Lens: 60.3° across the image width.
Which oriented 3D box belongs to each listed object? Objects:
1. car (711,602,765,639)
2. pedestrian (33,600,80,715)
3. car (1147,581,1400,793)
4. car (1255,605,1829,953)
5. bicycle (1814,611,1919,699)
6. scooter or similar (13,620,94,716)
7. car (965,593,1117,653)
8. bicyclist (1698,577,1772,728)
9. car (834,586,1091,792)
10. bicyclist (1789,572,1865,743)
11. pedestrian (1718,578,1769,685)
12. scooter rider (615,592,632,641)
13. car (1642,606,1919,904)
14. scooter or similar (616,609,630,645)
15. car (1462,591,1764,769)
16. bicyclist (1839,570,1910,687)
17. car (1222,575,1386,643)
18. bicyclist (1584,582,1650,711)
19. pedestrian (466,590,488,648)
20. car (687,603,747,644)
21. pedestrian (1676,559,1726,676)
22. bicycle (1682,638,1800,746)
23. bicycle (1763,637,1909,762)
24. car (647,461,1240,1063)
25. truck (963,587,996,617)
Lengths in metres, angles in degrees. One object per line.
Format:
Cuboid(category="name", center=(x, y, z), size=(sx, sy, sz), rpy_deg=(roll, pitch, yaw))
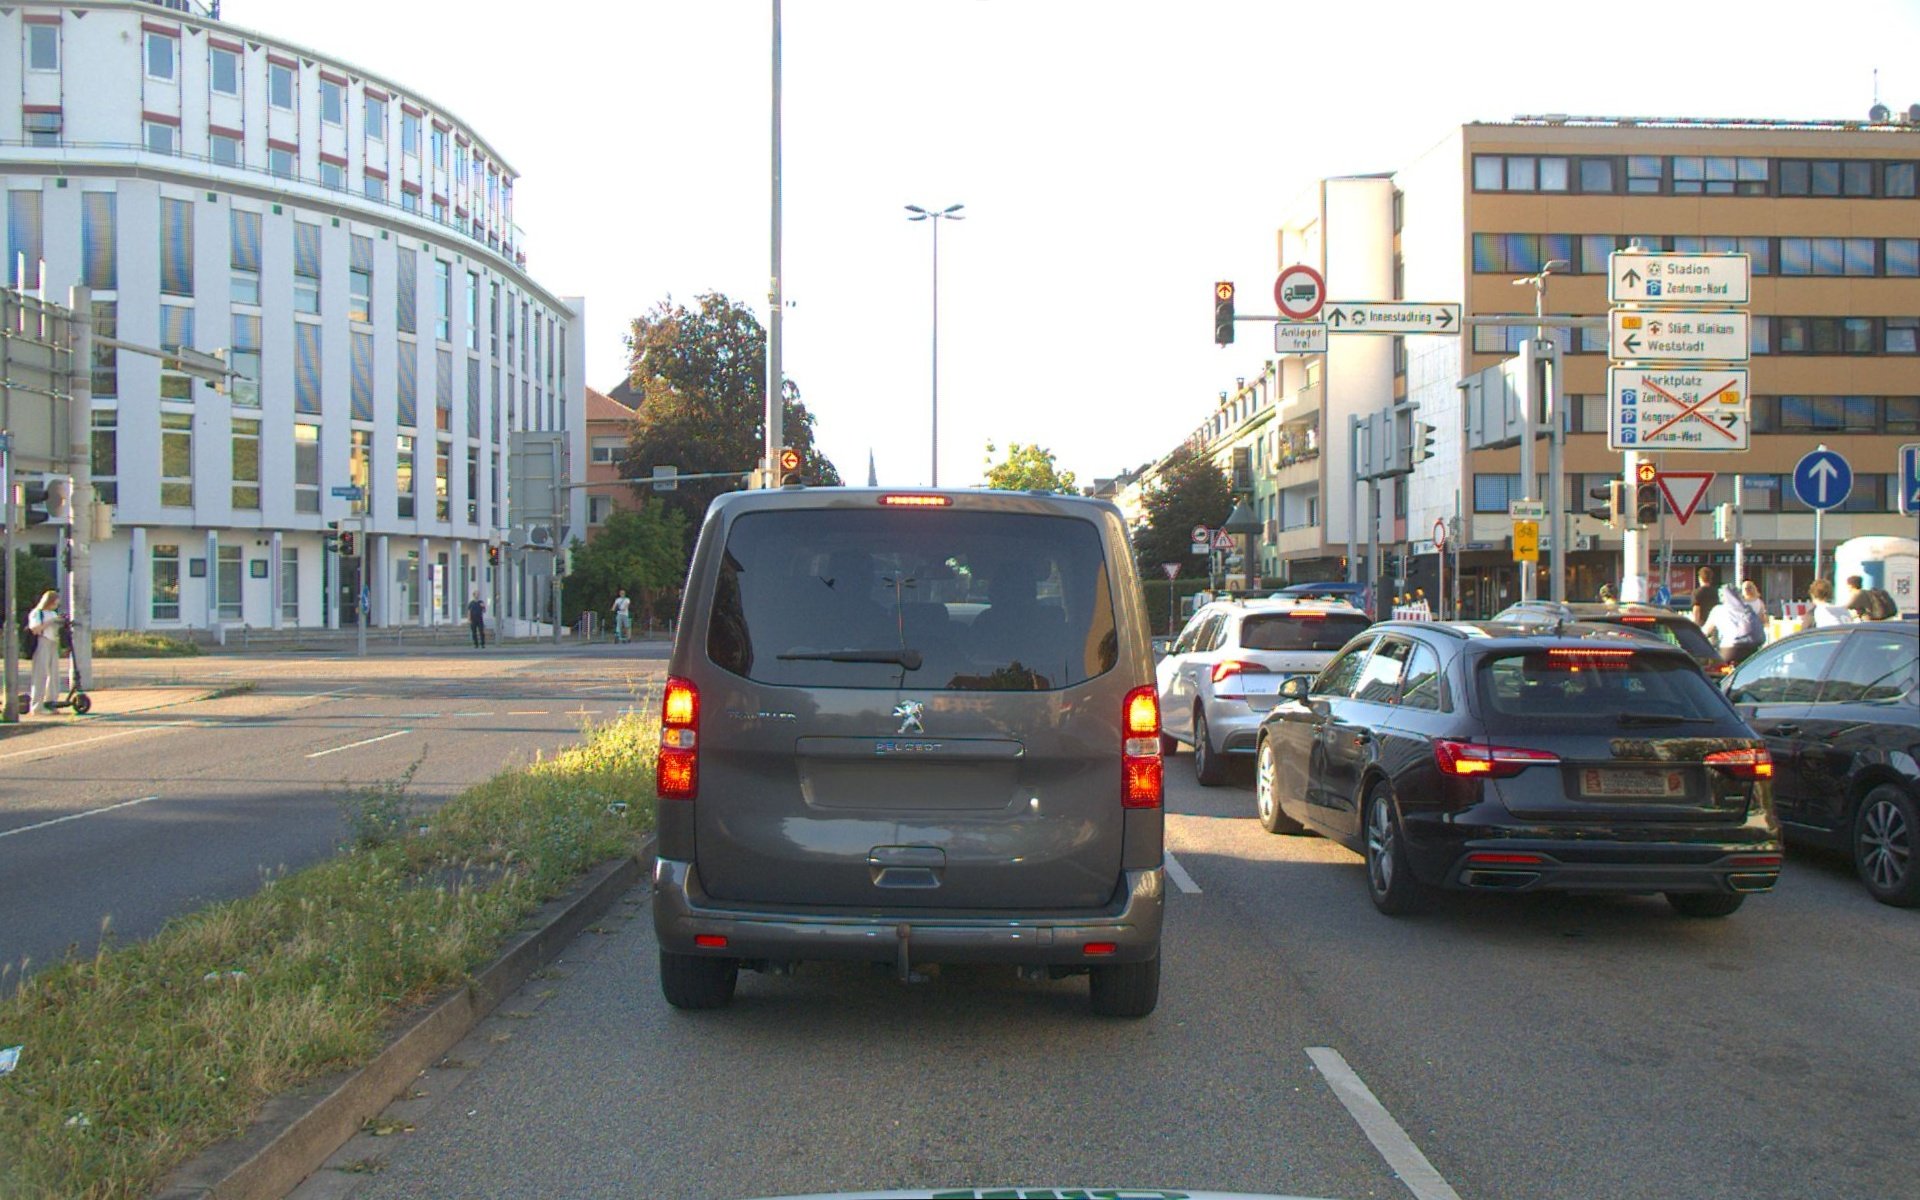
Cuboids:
Cuboid(category="car", center=(-9.099, 0.829, 67.969), size=(1.819, 1.445, 3.998), rpy_deg=(0, 0, -2))
Cuboid(category="pedestrian", center=(-12.218, 0.767, 22.371), size=(0.466, 1.532, 0.334), rpy_deg=(0, 0, -13))
Cuboid(category="car", center=(2.689, 0.684, 14.932), size=(1.498, 1.641, 3.744), rpy_deg=(1, 0, -1))
Cuboid(category="car", center=(2.891, 0.779, 9.244), size=(1.647, 1.446, 4.213), rpy_deg=(1, 0, -1))
Cuboid(category="bicycle", center=(13.052, 0.771, 23.605), size=(1.470, 1.181, 0.372), rpy_deg=(2, 1, 37))
Cuboid(category="scooter or similar", center=(-12.163, 0.909, 22.212), size=(0.877, 1.255, 0.370), rpy_deg=(0, 0, -12))
Cuboid(category="car", center=(2.085, 0.570, 42.376), size=(3.644, 1.412, 1.676), rpy_deg=(-2, 0, -36))
Cuboid(category="bicyclist", center=(8.140, 0.542, 17.390), size=(0.432, 1.552, 0.725), rpy_deg=(0, 0, -1))
Cuboid(category="car", center=(-0.012, 0.673, 14.618), size=(1.953, 1.557, 3.999), rpy_deg=(0, 0, -1))
Cuboid(category="bicyclist", center=(7.977, 0.521, 15.230), size=(0.432, 1.552, 0.482), rpy_deg=(0, 0, -1))
Cuboid(category="pedestrian", center=(12.618, 0.495, 26.636), size=(0.592, 1.700, 0.452), rpy_deg=(0, 0, -17))
Cuboid(category="scooter rider", center=(-11.849, 0.585, 58.186), size=(0.471, 1.727, 0.636), rpy_deg=(0, 0, -1))
Cuboid(category="car", center=(5.622, 0.804, 9.740), size=(1.600, 1.474, 3.744), rpy_deg=(1, 0, -1))
Cuboid(category="scooter or similar", center=(-11.856, 0.944, 58.231), size=(0.279, 1.209, 1.169), rpy_deg=(0, 0, -1))
Cuboid(category="car", center=(5.946, 0.662, 15.439), size=(1.474, 1.474, 3.304), rpy_deg=(0, 0, -1))
Cuboid(category="bicyclist", center=(13.056, 0.392, 23.604), size=(0.798, 1.616, 0.617), rpy_deg=(1, 1, 36))
Cuboid(category="car", center=(9.697, 0.227, 46.665), size=(4.157, 1.849, 1.987), rpy_deg=(-1, 0, -22))
Cuboid(category="bicyclist", center=(8.068, 0.564, 20.325), size=(0.503, 1.552, 0.725), rpy_deg=(0, 0, -1))
Cuboid(category="pedestrian", center=(-14.803, 0.584, 50.682), size=(0.615, 1.752, 0.669), rpy_deg=(0, 0, -15))
Cuboid(category="car", center=(-9.116, 0.863, 62.394), size=(1.819, 1.445, 3.998), rpy_deg=(0, 0, -2))
Cuboid(category="pedestrian", center=(11.946, 0.278, 26.664), size=(0.559, 1.866, 0.486), rpy_deg=(0, 0, -9))
Cuboid(category="bicycle", center=(8.136, 0.934, 17.307), size=(0.329, 1.025, 1.855), rpy_deg=(0, 0, -1))
Cuboid(category="bicycle", center=(7.993, 0.880, 15.167), size=(0.329, 1.025, 1.855), rpy_deg=(0, 0, -1))
Cuboid(category="car", center=(-0.082, 0.517, 7.567), size=(1.868, 1.896, 4.525), rpy_deg=(1, 0, -1))
Cuboid(category="truck", center=(1.455, 0.162, 120.197), size=(2.083, 2.123, 4.634), rpy_deg=(0, 0, 5))
